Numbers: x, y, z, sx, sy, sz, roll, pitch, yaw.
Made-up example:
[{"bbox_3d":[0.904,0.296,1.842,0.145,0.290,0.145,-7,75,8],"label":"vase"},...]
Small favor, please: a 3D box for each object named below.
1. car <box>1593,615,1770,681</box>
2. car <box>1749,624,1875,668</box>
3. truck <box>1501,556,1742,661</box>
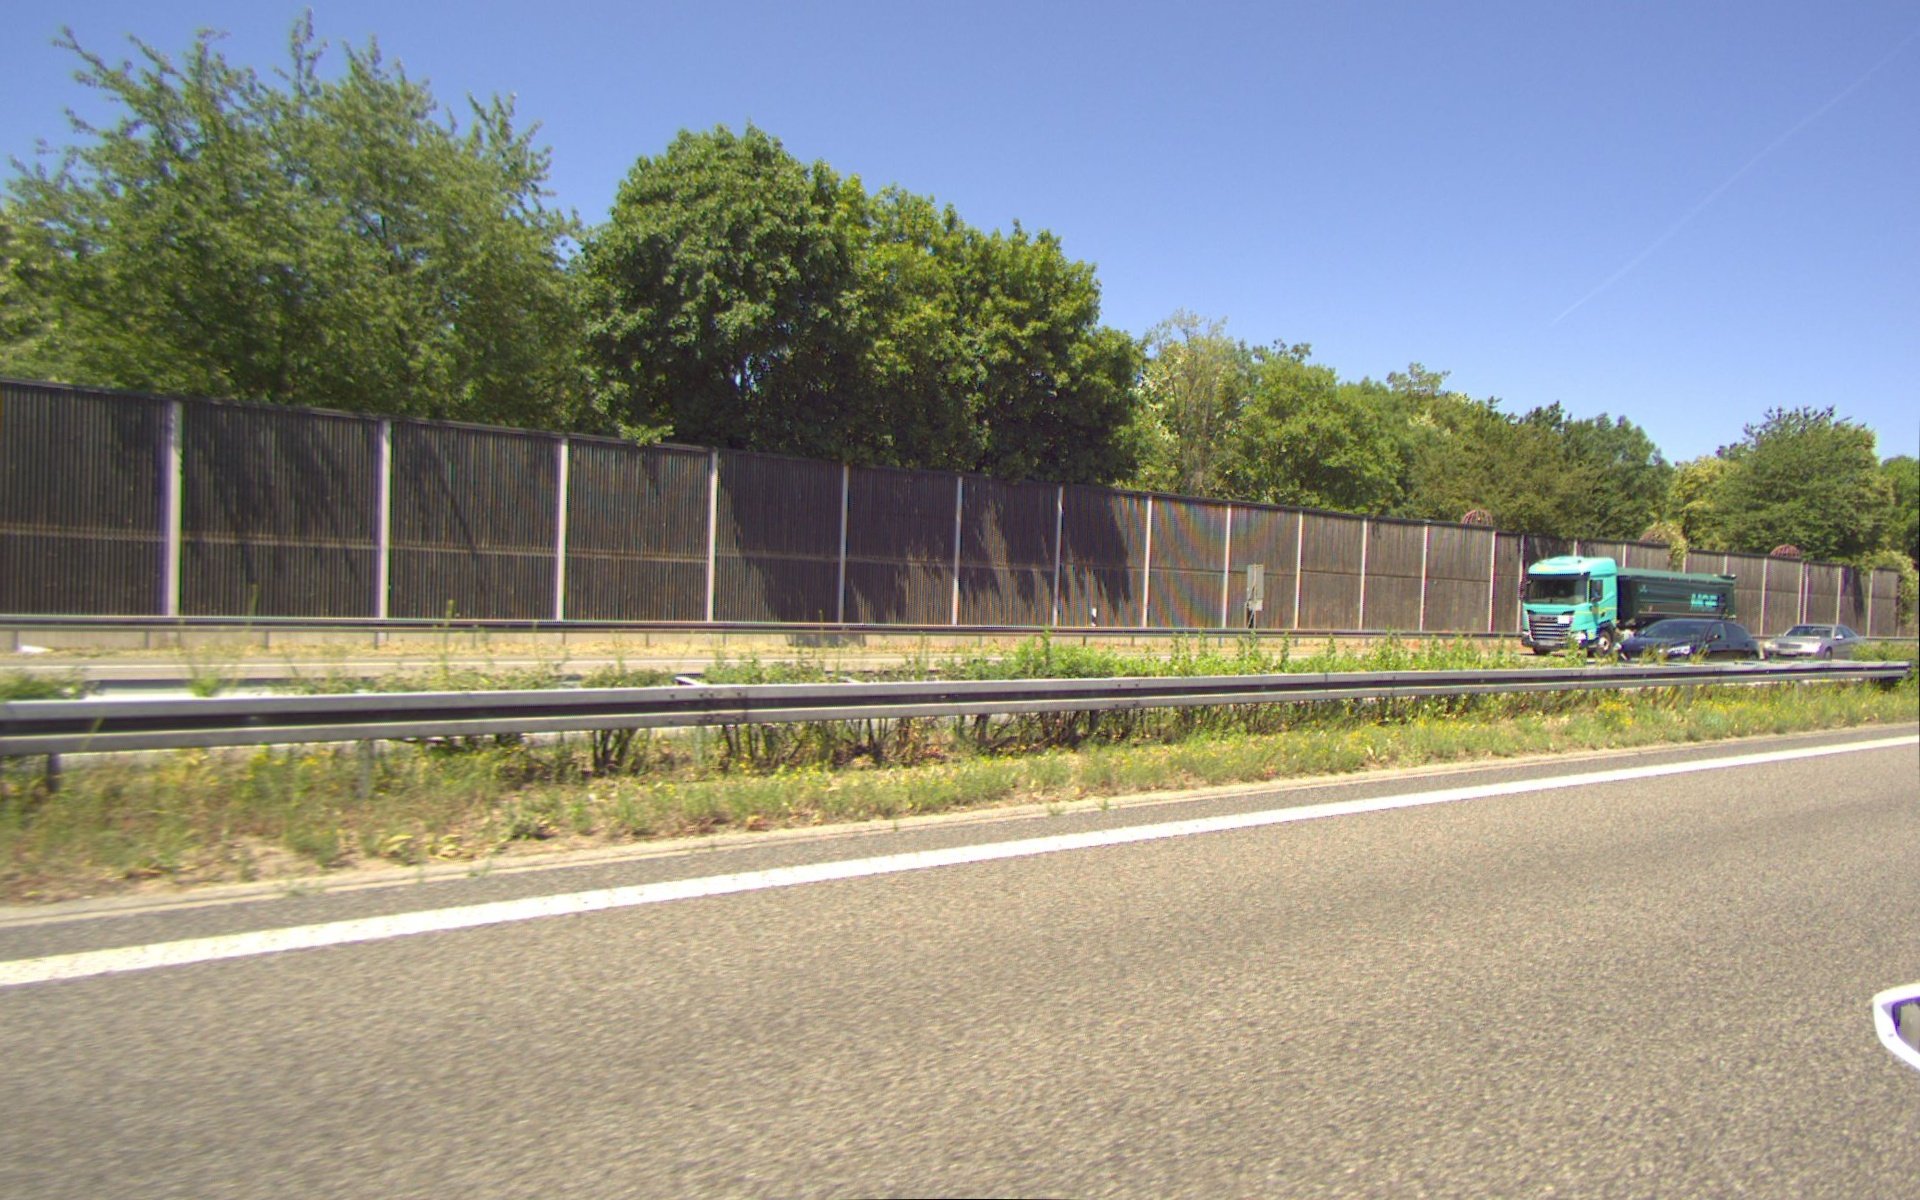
[{"bbox_3d":[17.927,1.177,24.934,4.406,1.465,1.948,2,0,-30],"label":"car"},{"bbox_3d":[31.139,1.662,36.682,5.023,1.460,1.857,2,0,-29],"label":"car"},{"bbox_3d":[26.679,0.449,40.166,12.227,3.724,3.074,2,0,-31],"label":"truck"}]
